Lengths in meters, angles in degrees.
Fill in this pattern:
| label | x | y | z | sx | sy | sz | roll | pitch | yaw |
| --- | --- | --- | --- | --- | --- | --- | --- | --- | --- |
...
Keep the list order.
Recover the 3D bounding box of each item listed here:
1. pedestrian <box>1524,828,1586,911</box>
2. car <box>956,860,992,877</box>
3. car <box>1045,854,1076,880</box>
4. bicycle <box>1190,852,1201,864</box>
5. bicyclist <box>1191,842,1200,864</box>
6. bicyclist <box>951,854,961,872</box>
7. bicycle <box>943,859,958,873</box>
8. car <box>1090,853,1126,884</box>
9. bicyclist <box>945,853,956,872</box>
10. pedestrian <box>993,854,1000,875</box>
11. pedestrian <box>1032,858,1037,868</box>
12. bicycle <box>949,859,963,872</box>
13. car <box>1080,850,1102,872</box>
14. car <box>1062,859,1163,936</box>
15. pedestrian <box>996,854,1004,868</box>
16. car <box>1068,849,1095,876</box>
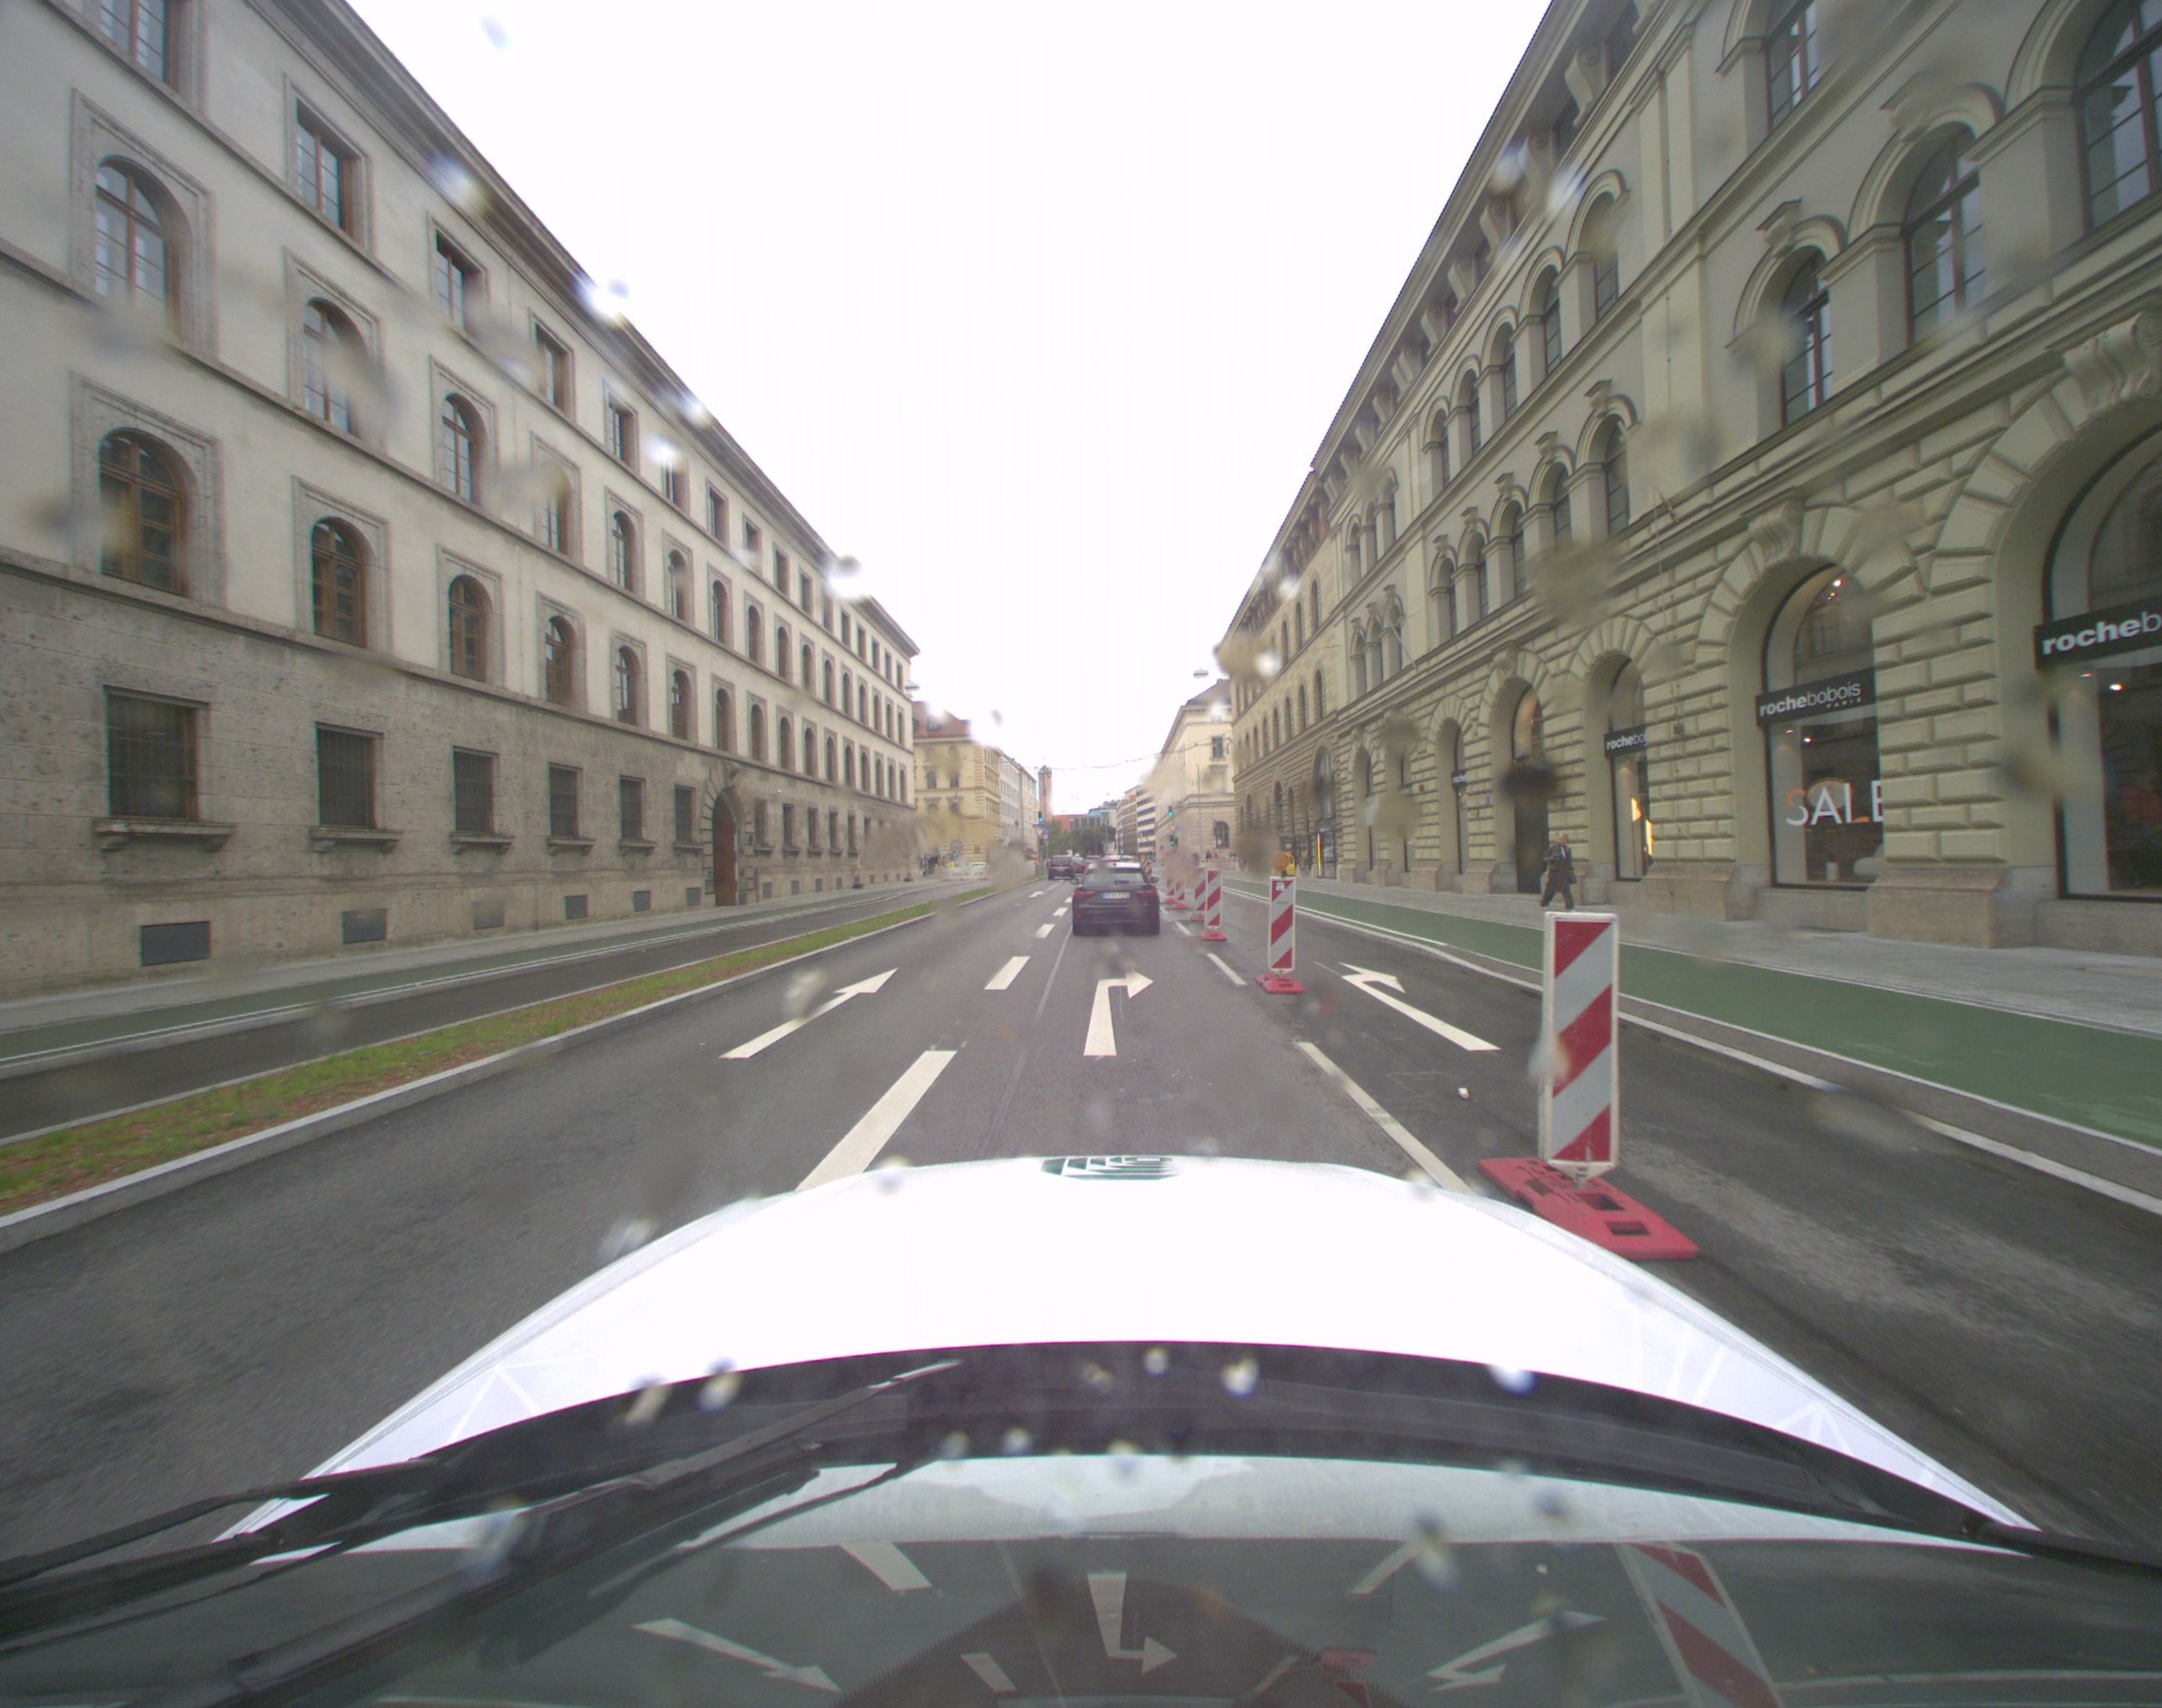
| label | x | y | z | sx | sy | sz | roll | pitch | yaw |
| --- | --- | --- | --- | --- | --- | --- | --- | --- | --- |
| pedestrian | 10.117 | 0.317 | 17.409 | 0.630 | 1.704 | 1.086 | -3 | 0 | 1 |
| car | -12.315 | 1.649 | 93.713 | 3.757 | 1.798 | 1.853 | -2 | -1 | -23 |
| car | -1.345 | 0.853 | 55.416 | 1.858 | 1.601 | 3.852 | -2 | 0 | 1 |
| bicycle | 9.496 | 0.332 | 67.375 | 0.583 | 1.011 | 1.655 | -1 | 0 | -2 |
| bicyclist | 9.487 | -0.095 | 67.390 | 0.564 | 1.854 | 0.798 | -1 | 0 | -2 |
| bicyclist | -12.364 | 0.893 | 80.519 | 0.794 | 1.776 | 0.690 | -1 | 0 | 5 |
| bicycle | -12.178 | 1.078 | 75.983 | 0.783 | 1.242 | 2.453 | -1 | 0 | 6 |
| car | 1.428 | 0.771 | 44.954 | 1.764 | 1.617 | 3.998 | -1 | 0 | -1 |
| bicyclist | -12.177 | 0.798 | 75.988 | 0.794 | 1.748 | 0.690 | -1 | 0 | 5 |
| pedestrian | -7.241 | 0.909 | 69.841 | 0.512 | 1.743 | 1.040 | -2 | 0 | -8 |
| pedestrian | -8.443 | 1.698 | 148.330 | 0.734 | 1.772 | 0.736 | -1 | 0 | 1 |
| bicycle | -12.363 | 1.155 | 80.464 | 0.783 | 1.242 | 2.203 | -1 | 0 | 6 |
| car | 0.980 | 0.657 | 80.258 | 1.986 | 2.013 | 4.002 | -2 | 0 | 2 |
| car | 0.654 | 0.831 | 17.281 | 1.856 | 1.388 | 4.002 | -1 | 0 | 2 |
| pedestrian | -10.440 | 0.949 | 104.681 | 0.727 | 1.772 | 0.743 | -1 | 0 | 23 |
| car | 0.089 | 0.637 | 65.138 | 1.986 | 2.013 | 4.001 | -2 | 0 | 1 |
